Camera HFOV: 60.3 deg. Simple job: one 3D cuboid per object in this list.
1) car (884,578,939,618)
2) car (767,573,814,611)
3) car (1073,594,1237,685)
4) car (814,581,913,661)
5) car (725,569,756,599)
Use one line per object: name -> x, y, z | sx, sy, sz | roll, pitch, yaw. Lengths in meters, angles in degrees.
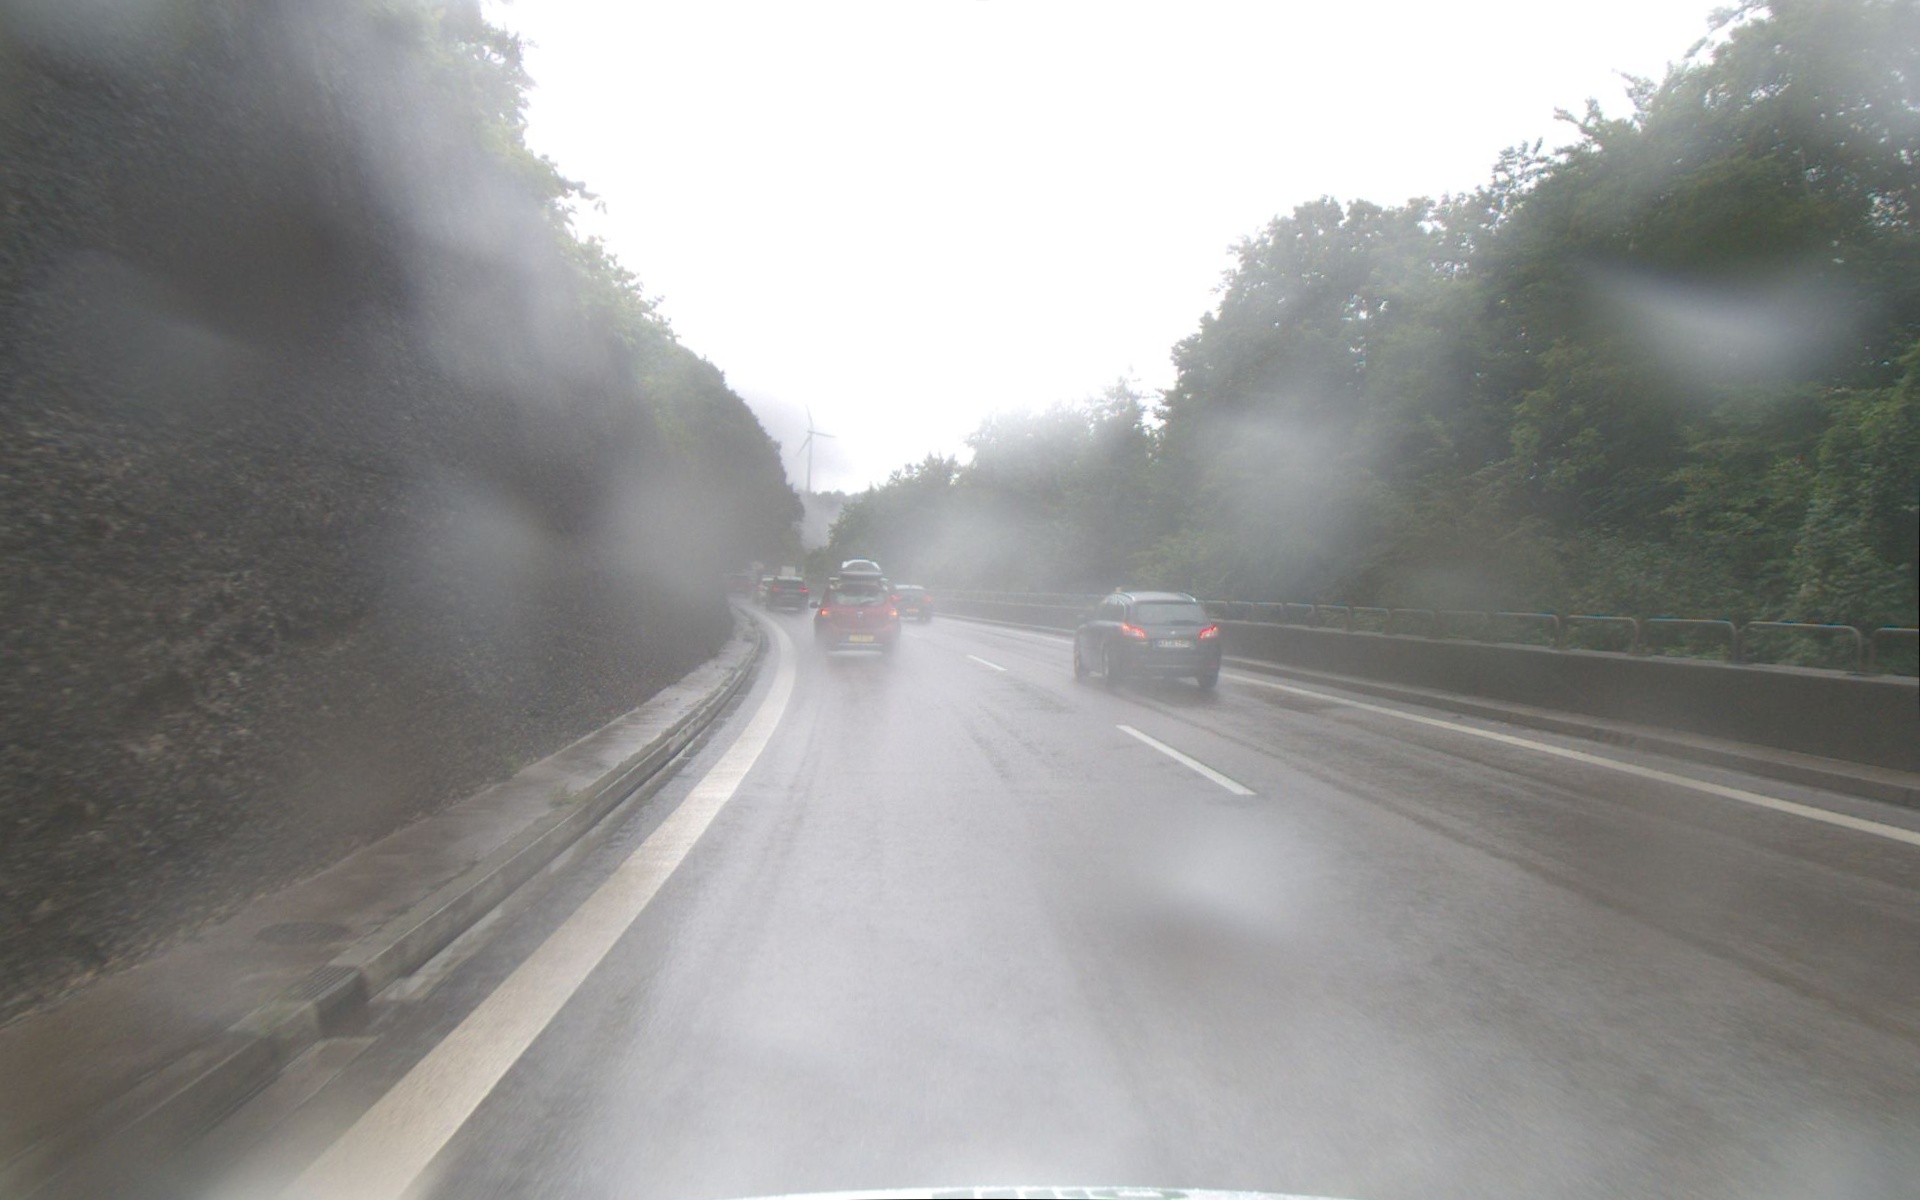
car -> -2.029, -0.096, 67.958 | 1.955, 1.579, 3.995 | 0, 0, -6
car -> -8.058, -0.350, 78.186 | 1.957, 1.713, 3.991 | 2, -1, -9
car -> 3.037, 0.577, 26.555 | 1.766, 1.330, 3.995 | 1, 0, -6
car -> -2.094, 0.434, 35.124 | 1.955, 1.579, 3.996 | 1, 0, -5
car -> -15.579, -1.108, 117.757 | 1.955, 2.049, 3.995 | 1, -1, -5
